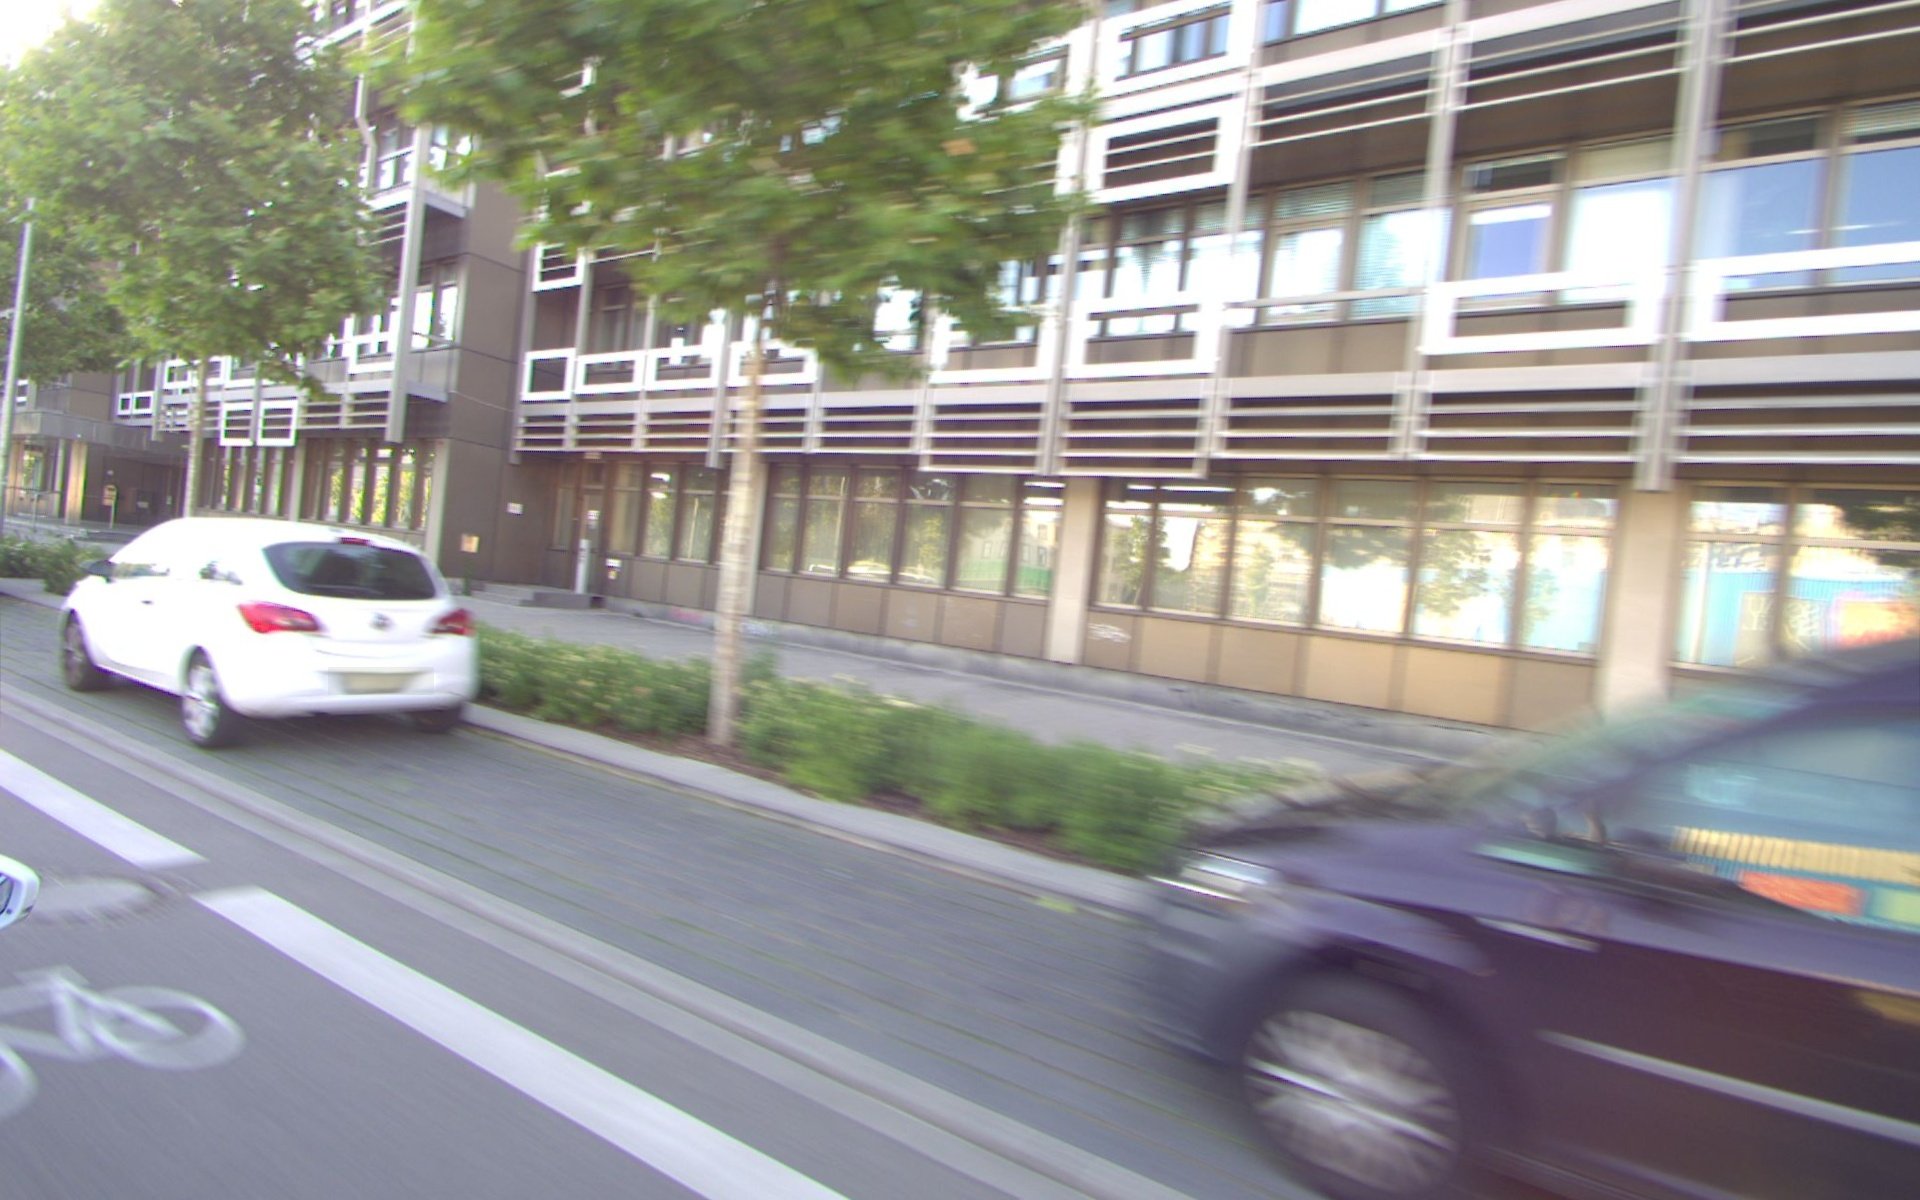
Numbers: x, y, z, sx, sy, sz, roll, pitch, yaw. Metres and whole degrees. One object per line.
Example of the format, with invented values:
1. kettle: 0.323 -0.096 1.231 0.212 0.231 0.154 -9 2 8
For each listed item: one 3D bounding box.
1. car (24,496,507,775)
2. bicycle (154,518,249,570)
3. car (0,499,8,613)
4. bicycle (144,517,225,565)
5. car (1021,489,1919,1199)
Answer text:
1. car: -5.536 0.129 7.840 4.136 1.510 1.663 7 2 34
2. bicycle: -19.208 -1.401 25.519 0.385 1.107 1.902 6 1 28
3. car: -14.597 -0.799 13.433 4.306 1.468 1.794 7 2 34
4. bicycle: -20.893 -1.574 27.141 0.386 1.096 1.626 7 1 35
5. car: 2.566 0.856 2.865 4.320 1.945 1.735 7 2 31
